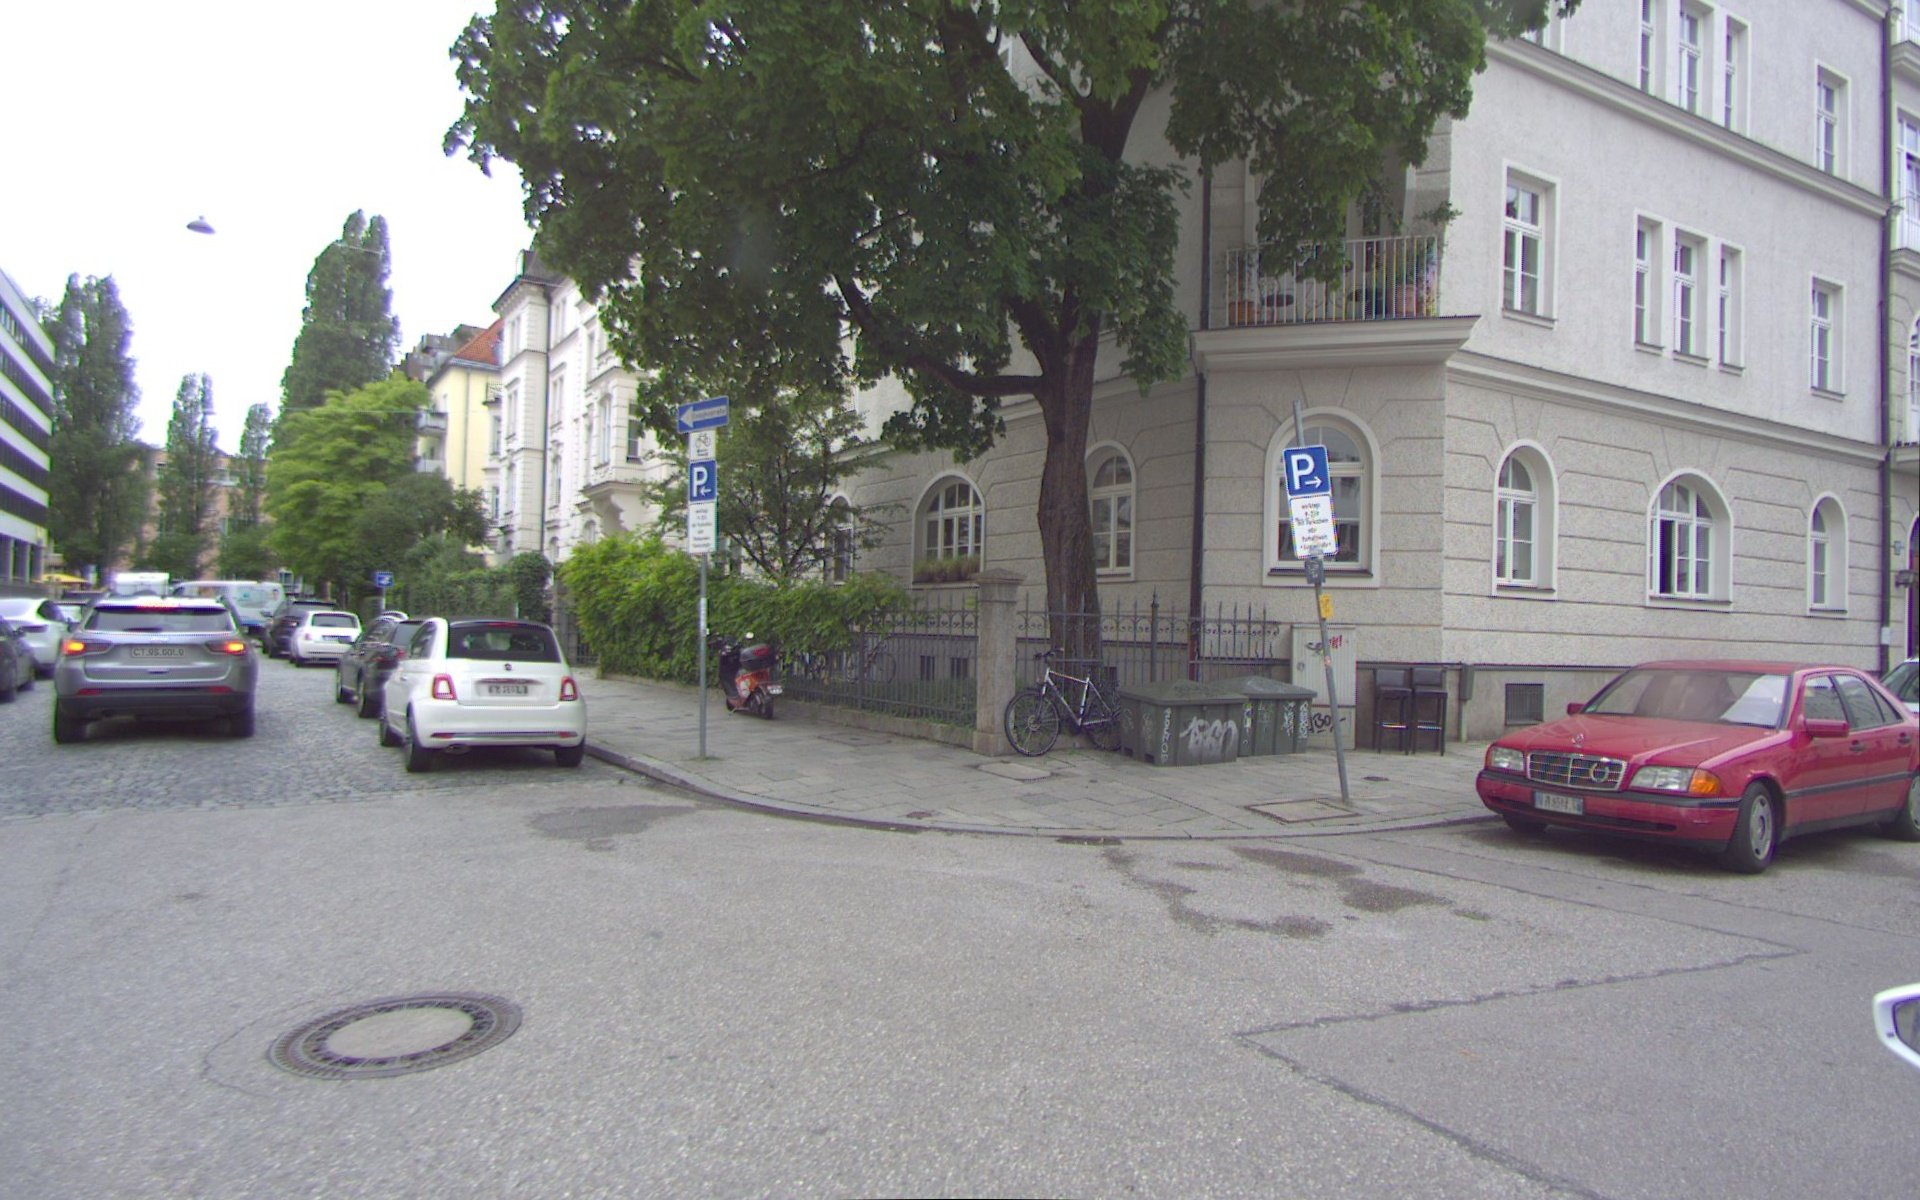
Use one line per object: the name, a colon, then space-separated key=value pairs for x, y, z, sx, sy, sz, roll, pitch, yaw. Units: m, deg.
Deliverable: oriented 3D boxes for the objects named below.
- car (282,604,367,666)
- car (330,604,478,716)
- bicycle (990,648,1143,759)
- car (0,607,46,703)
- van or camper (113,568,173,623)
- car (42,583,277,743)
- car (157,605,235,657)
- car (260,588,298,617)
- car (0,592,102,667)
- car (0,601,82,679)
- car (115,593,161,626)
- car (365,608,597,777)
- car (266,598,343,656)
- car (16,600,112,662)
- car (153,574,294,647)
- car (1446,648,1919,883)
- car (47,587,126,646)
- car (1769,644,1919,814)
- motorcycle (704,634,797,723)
car: x=-17.374 y=0.917 z=27.377 sx=1.672 sy=1.554 sz=3.830 roll=2 pitch=-1 yaw=-36
car: x=-8.714 y=0.842 z=15.584 sx=1.635 sy=1.493 sz=3.962 roll=2 pitch=-1 yaw=-34
bicycle: x=1.184 y=1.091 z=10.969 sx=1.809 sy=1.066 sz=0.490 roll=0 pitch=0 yaw=-36
car: x=-15.610 y=0.786 z=15.622 sx=1.578 sy=1.359 sz=3.775 roll=2 pitch=-2 yaw=-36
van or camper: x=-47.387 y=-0.228 z=58.345 sx=2.406 sy=2.974 sz=5.315 roll=2 pitch=-1 yaw=-37
car: x=-9.885 y=0.695 z=12.565 sx=1.946 sy=1.629 sz=4.263 roll=2 pitch=-2 yaw=-37
car: x=-21.039 y=0.840 z=27.742 sx=1.591 sy=1.348 sz=2.923 roll=2 pitch=-2 yaw=-36
car: x=-41.104 y=0.161 z=60.599 sx=1.692 sy=1.669 sz=3.957 roll=2 pitch=-2 yaw=-37
car: x=-22.253 y=0.689 z=24.519 sx=1.692 sy=1.669 sz=3.957 roll=2 pitch=-2 yaw=-37
car: x=-19.275 y=0.758 z=20.514 sx=1.605 sy=1.461 sz=3.959 roll=2 pitch=-2 yaw=-36
car: x=-43.541 y=0.501 z=53.279 sx=1.692 sy=1.669 sz=3.957 roll=2 pitch=-2 yaw=-37
car: x=-5.431 y=0.870 z=11.118 sx=1.669 sy=1.468 sz=3.961 roll=2 pitch=-1 yaw=-35
car: x=-20.216 y=0.803 z=30.913 sx=1.692 sy=1.669 sz=3.957 roll=2 pitch=-2 yaw=-37
car: x=-25.812 y=0.867 z=29.047 sx=1.692 sy=1.669 sz=3.957 roll=2 pitch=-2 yaw=-37
car: x=-26.970 y=0.377 z=36.776 sx=4.515 sy=2.508 sz=2.162 roll=1 pitch=-1 yaw=24
car: x=5.986 y=1.136 z=8.018 sx=4.176 sy=1.396 sz=1.723 roll=2 pitch=-1 yaw=-29
car: x=-29.787 y=0.559 z=34.344 sx=1.692 sy=1.884 sz=3.957 roll=2 pitch=-2 yaw=-37
car: x=10.305 y=1.252 z=10.268 sx=4.173 sy=1.493 sz=1.982 roll=2 pitch=-2 yaw=-33
motorcycle: x=-3.006 y=1.068 z=14.273 sx=0.585 sy=1.126 sz=1.971 roll=1 pitch=-1 yaw=-34
